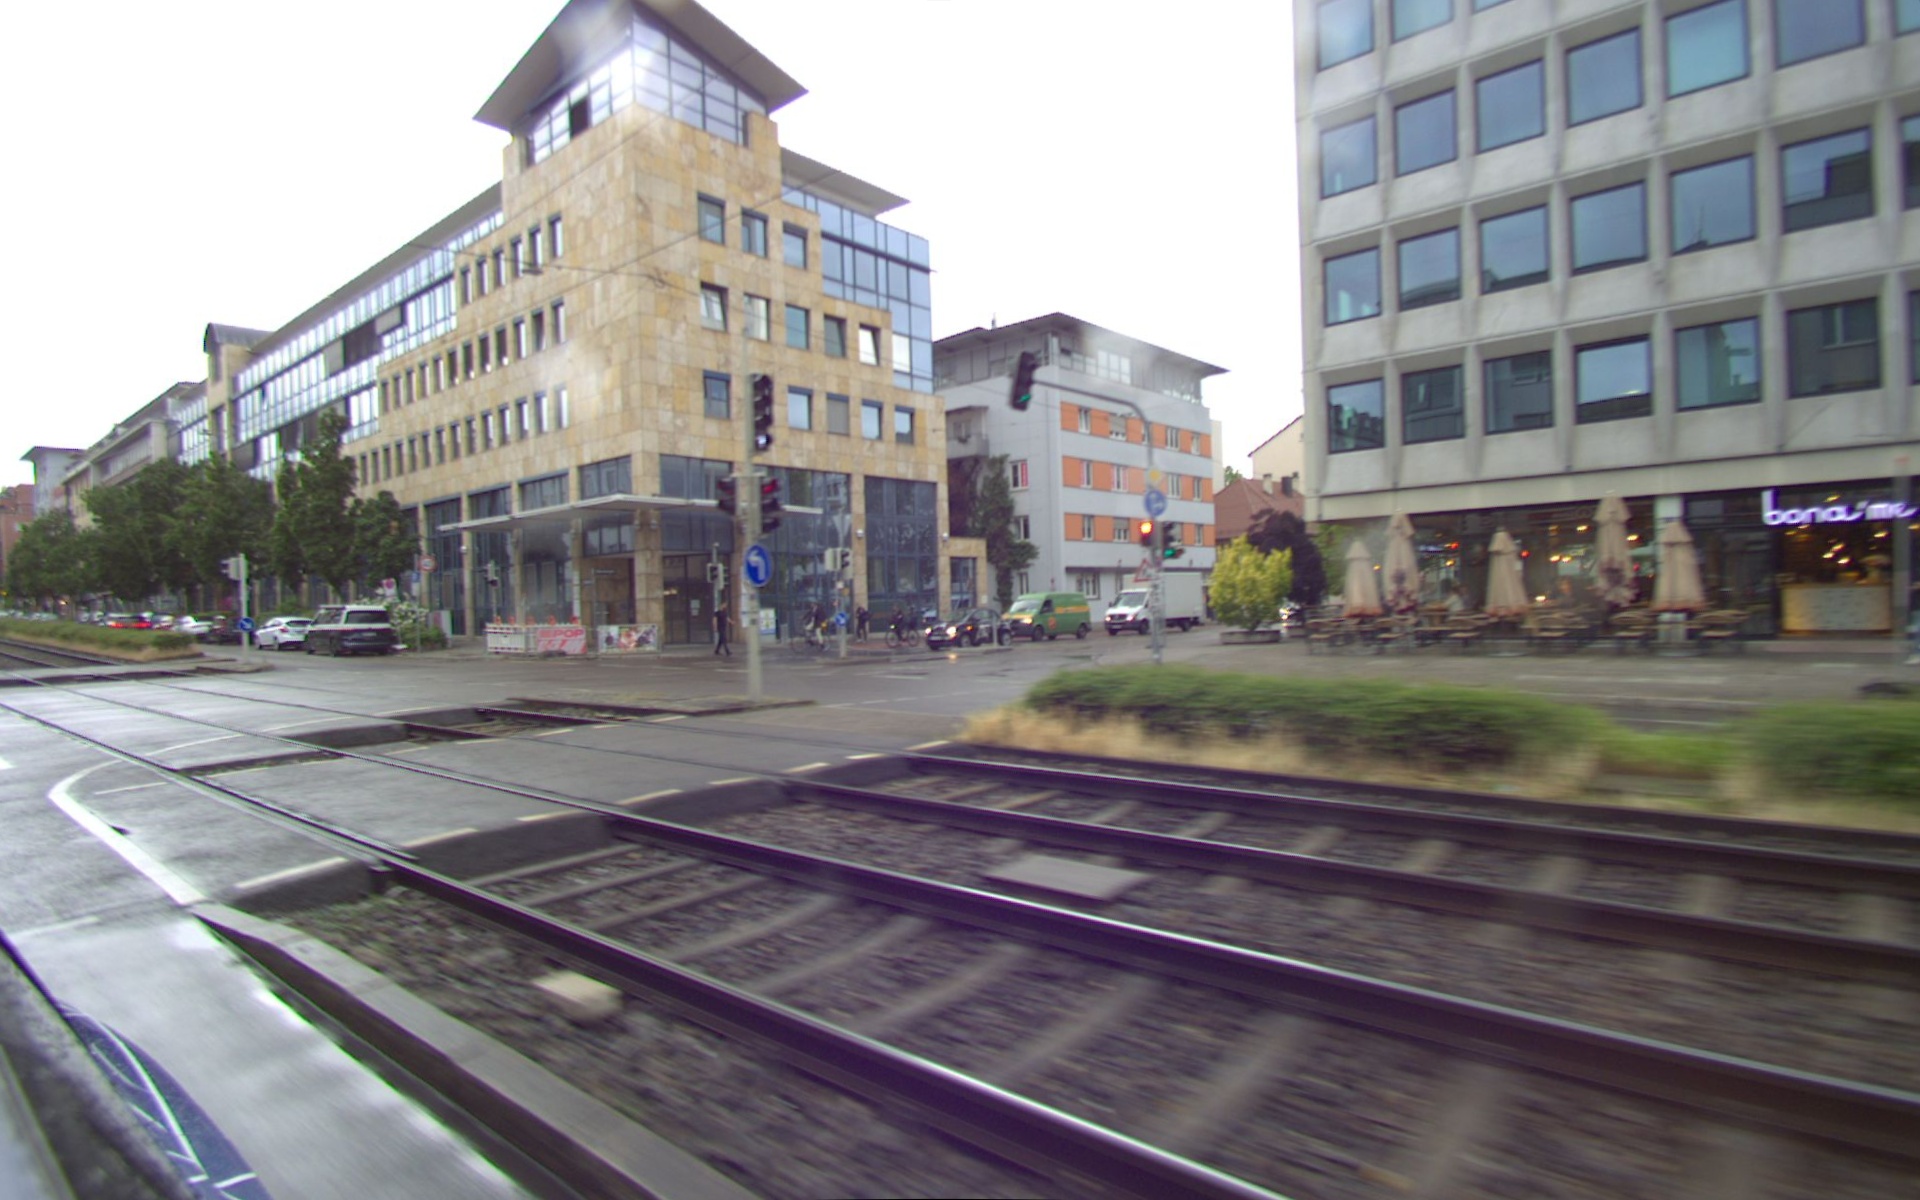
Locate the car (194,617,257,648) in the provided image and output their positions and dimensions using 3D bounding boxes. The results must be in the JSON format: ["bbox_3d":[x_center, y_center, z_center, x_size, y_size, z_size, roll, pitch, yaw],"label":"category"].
[{"bbox_3d":[-37.895,1.673,52.202,3.996,1.497,1.672,-2,-1,40],"label":"car"}]

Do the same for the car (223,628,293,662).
[{"bbox_3d":[-34.219,2.182,49.283,4.291,1.497,1.672,-2,-1,39],"label":"car"}]

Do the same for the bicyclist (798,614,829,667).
[{"bbox_3d":[-5.202,1.427,35.941,0.783,1.818,0.701,-2,-1,41],"label":"bicyclist"}]

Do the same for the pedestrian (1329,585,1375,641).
[{"bbox_3d":[11.127,0.370,28.697,0.896,1.544,0.952,-2,-1,41],"label":"pedestrian"}]

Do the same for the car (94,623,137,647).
[{"bbox_3d":[-59.121,2.435,70.807,4.620,1.552,1.632,-1,-1,42],"label":"car"}]

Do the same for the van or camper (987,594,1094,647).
[{"bbox_3d":[3.584,0.870,44.405,2.095,2.077,5.031,-2,0,40],"label":"van or camper"}]

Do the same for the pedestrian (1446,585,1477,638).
[{"bbox_3d":[12.778,0.288,25.771,0.553,1.332,0.517,-2,0,42],"label":"pedestrian"}]

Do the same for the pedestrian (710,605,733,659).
[{"bbox_3d":[-8.113,1.089,34.390,0.667,1.794,0.705,-2,-1,-14],"label":"pedestrian"}]

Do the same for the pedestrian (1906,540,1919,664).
[{"bbox_3d":[14.607,0.012,14.927,0.843,1.836,0.559,-2,0,37],"label":"pedestrian"}]

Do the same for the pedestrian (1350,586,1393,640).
[{"bbox_3d":[12.116,0.382,29.788,0.896,1.544,0.952,-2,-1,39],"label":"pedestrian"}]

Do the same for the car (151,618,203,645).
[{"bbox_3d":[-45.614,1.825,58.949,4.291,1.509,1.632,-1,-1,42],"label":"car"}]

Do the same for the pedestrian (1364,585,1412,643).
[{"bbox_3d":[11.849,0.390,28.017,0.964,1.544,0.885,-2,-1,40],"label":"pedestrian"}]

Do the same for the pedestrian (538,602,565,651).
[{"bbox_3d":[-15.539,1.001,38.465,0.679,1.828,0.693,-3,-1,44],"label":"pedestrian"}]

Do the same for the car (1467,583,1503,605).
[{"bbox_3d":[44.569,-0.548,85.870,1.780,1.747,4.110,-2,0,40],"label":"car"}]

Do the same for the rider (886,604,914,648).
[{"bbox_3d":[-2.336,1.023,39.638,0.783,1.688,0.701,-2,-1,41],"label":"rider"}]

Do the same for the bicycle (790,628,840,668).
[{"bbox_3d":[-5.140,1.703,35.975,0.659,1.321,1.746,-2,-1,40],"label":"bicycle"}]

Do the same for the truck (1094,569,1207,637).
[{"bbox_3d":[9.719,0.107,51.095,2.459,3.188,7.078,-2,0,39],"label":"truck"}]

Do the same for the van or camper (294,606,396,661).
[{"bbox_3d":[-24.457,1.259,40.185,5.195,2.012,1.996,0,1,42],"label":"van or camper"}]

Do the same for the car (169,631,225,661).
[{"bbox_3d":[-41.711,2.474,55.286,4.191,1.509,1.632,-1,-1,42],"label":"car"}]

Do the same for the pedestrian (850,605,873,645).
[{"bbox_3d":[-4.095,1.047,42.042,0.703,1.648,0.573,-3,0,42],"label":"pedestrian"}]

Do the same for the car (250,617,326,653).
[{"bbox_3d":[-30.049,1.584,45.191,4.252,1.497,1.672,-2,-1,40],"label":"car"}]

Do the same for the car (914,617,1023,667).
[{"bbox_3d":[0.355,1.483,36.376,1.888,1.541,3.949,-2,0,38],"label":"car"}]

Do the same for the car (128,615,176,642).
[{"bbox_3d":[-50.160,1.757,62.804,4.291,1.613,1.632,-1,-1,42],"label":"car"}]
